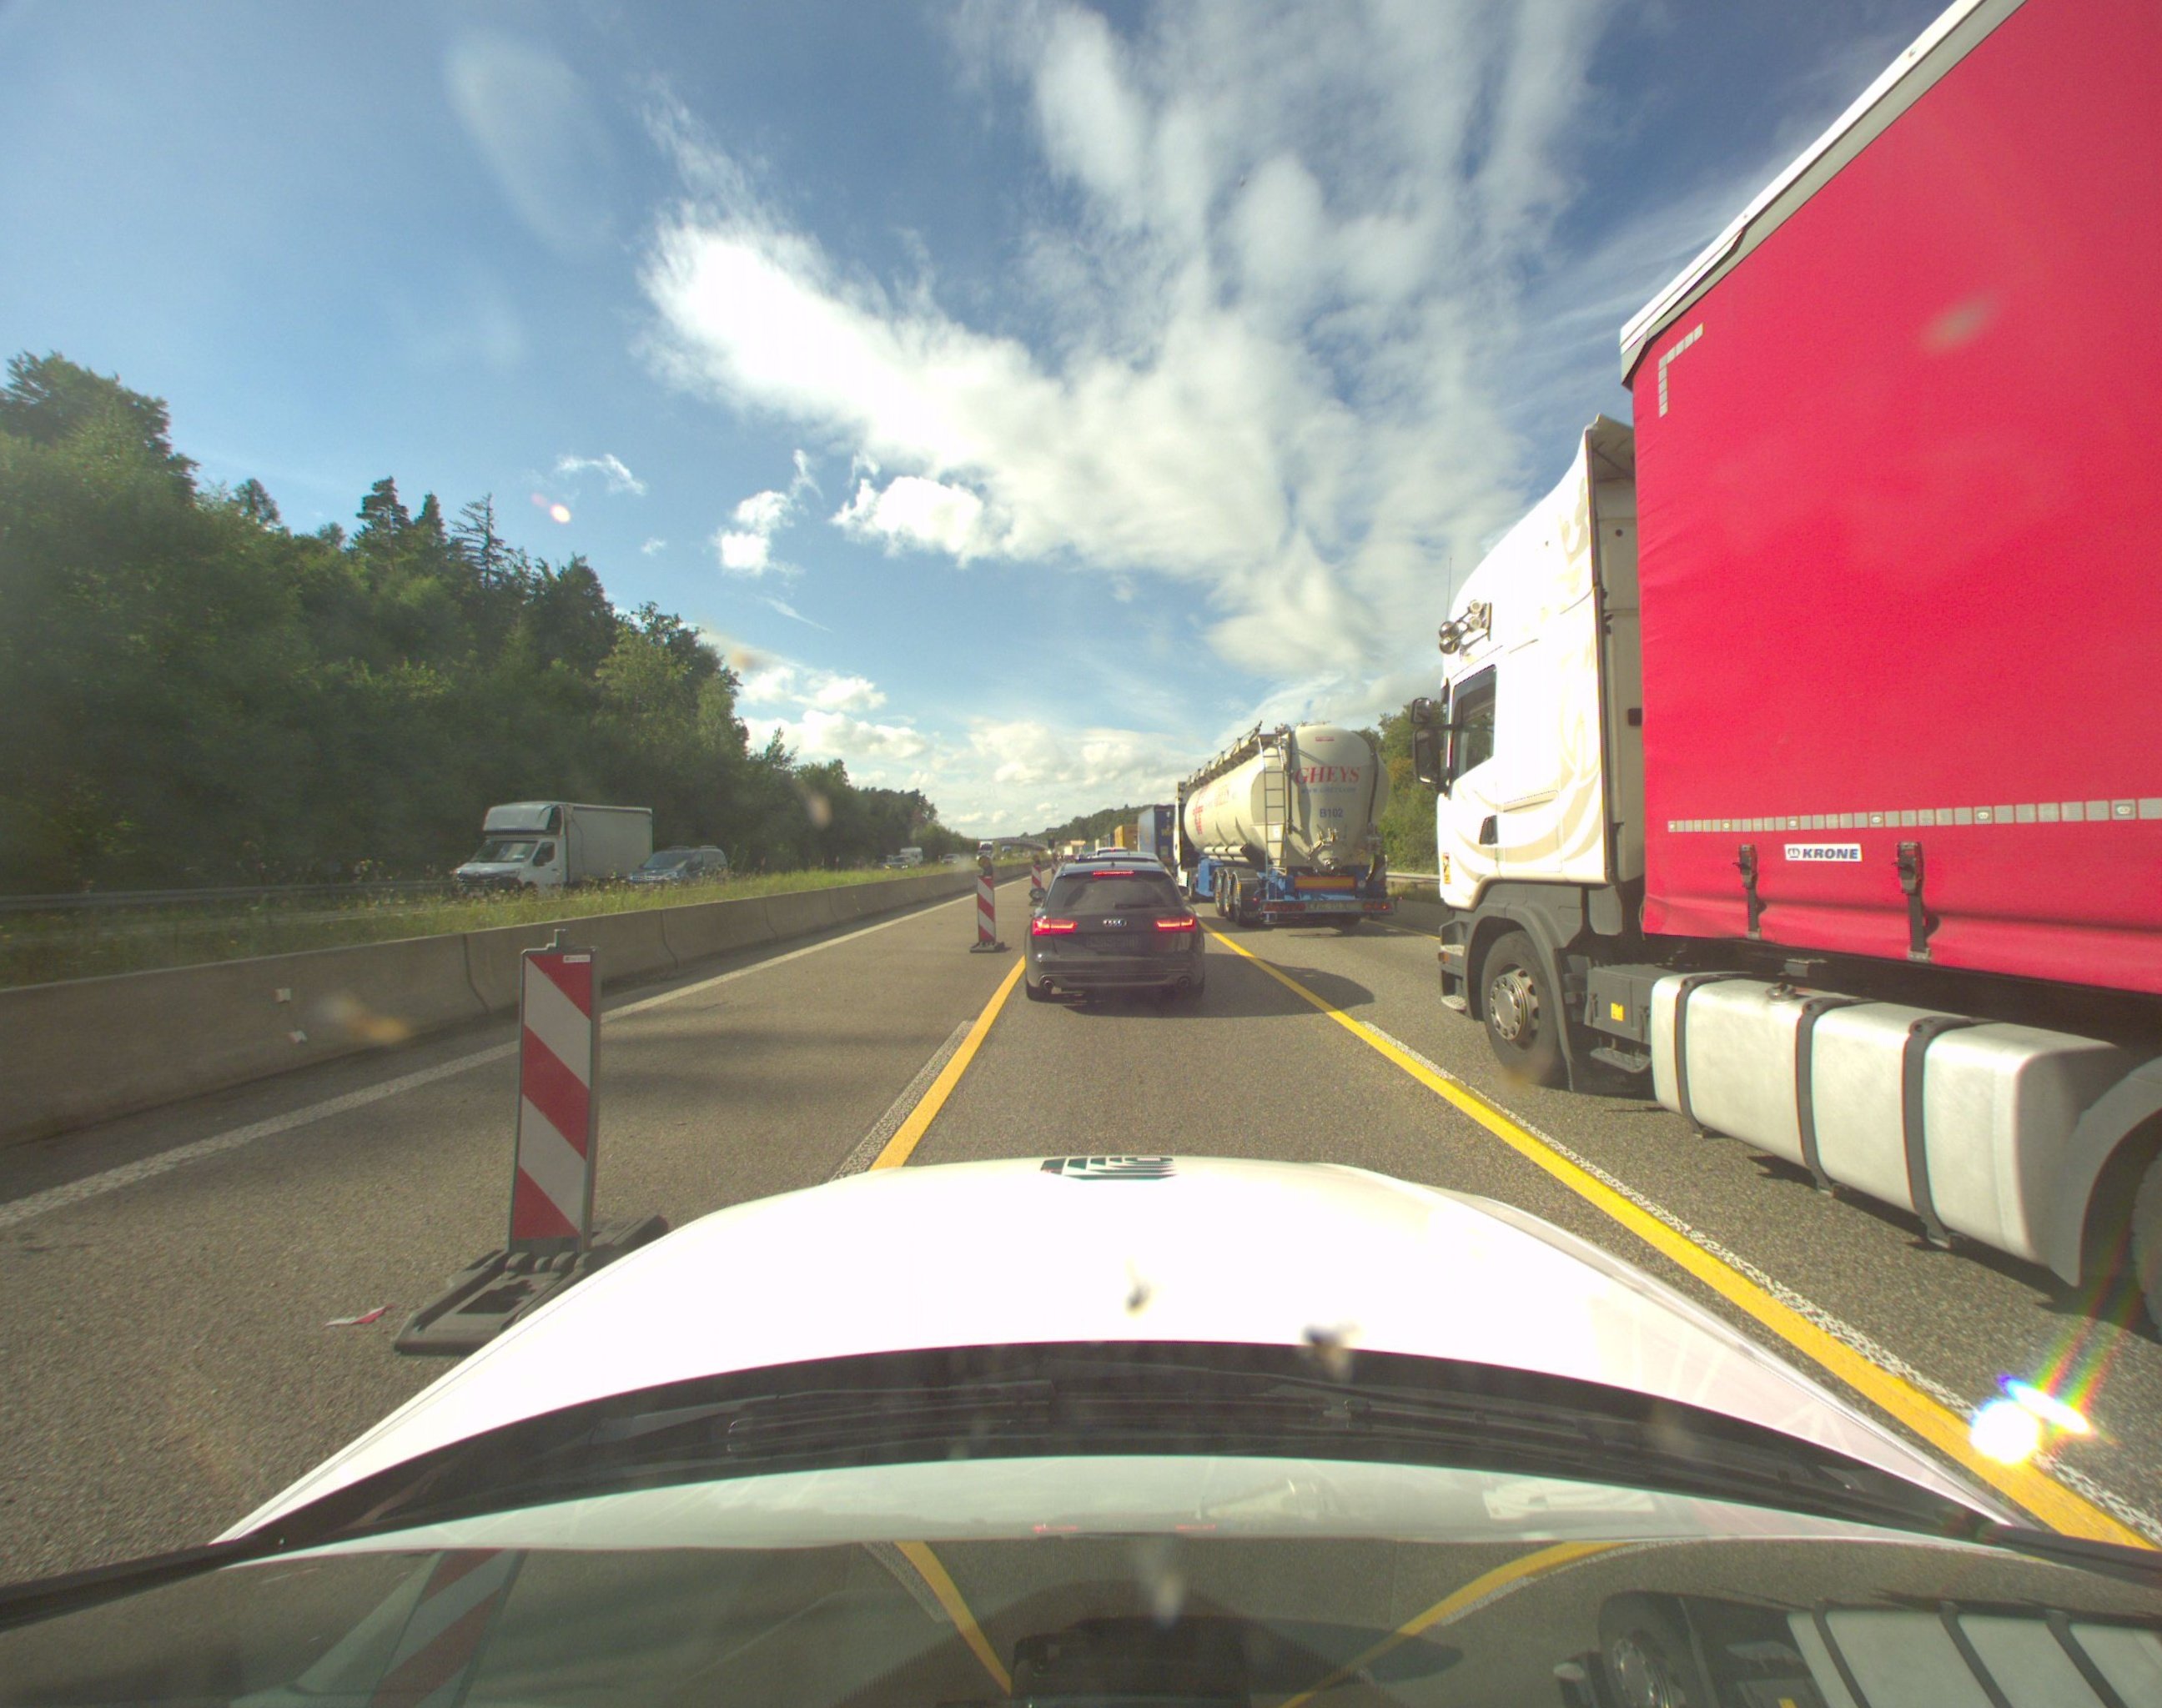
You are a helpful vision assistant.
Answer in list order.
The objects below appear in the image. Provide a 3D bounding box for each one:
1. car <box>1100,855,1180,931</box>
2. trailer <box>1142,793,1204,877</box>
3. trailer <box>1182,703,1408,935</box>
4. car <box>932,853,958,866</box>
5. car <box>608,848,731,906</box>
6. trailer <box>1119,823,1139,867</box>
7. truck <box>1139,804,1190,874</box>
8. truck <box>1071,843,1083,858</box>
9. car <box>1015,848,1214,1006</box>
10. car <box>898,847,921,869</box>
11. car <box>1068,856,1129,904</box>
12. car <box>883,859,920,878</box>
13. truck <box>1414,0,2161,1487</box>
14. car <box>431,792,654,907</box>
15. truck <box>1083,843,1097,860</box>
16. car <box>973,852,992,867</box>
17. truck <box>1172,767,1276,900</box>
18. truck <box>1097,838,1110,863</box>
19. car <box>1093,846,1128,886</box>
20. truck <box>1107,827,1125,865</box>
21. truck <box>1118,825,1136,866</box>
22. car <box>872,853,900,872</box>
[{"bbox_3d":[1.169,0.750,17.146,1.518,1.439,3.286,0,0,2],"label":"car"},{"bbox_3d":[5.306,-0.976,48.593,2.795,4.413,10.436,0,0,2],"label":"trailer"},{"bbox_3d":[4.421,-0.591,20.202,2.634,3.943,12.602,0,0,2],"label":"trailer"},{"bbox_3d":[-14.564,0.606,87.455,1.951,1.363,4.289,0,0,2],"label":"car"},{"bbox_3d":[-13.795,0.739,27.600,1.937,1.813,4.121,0,0,2],"label":"car"},{"bbox_3d":[4.427,-0.778,75.714,1.611,3.918,6.490,0,-1,1],"label":"trailer"},{"bbox_3d":[5.486,-0.904,54.602,2.796,4.369,7.794,0,0,2],"label":"truck"},{"bbox_3d":[-1.121,-0.972,236.192,3.295,4.174,9.696,-1,0,-1],"label":"truck"},{"bbox_3d":[0.375,0.679,9.584,1.842,1.463,4.002,0,0,2],"label":"car"},{"bbox_3d":[-20.905,0.507,99.320,2.247,2.643,5.009,0,0,-6],"label":"car"},{"bbox_3d":[0.555,0.766,25.328,1.745,1.397,3.609,0,0,2],"label":"car"},{"bbox_3d":[-13.760,1.101,62.669,1.772,1.387,4.312,0,0,2],"label":"car"},{"bbox_3d":[4.018,-0.428,3.796,2.658,3.959,5.711,0,0,1],"label":"truck"},{"bbox_3d":[-17.815,-0.099,27.711,2.478,3.370,7.454,0,0,1],"label":"car"},{"bbox_3d":[2.272,-0.666,204.997,3.293,4.175,9.700,-1,0,0],"label":"truck"},{"bbox_3d":[-13.821,0.735,114.298,1.986,2.014,4.833,0,0,2],"label":"car"},{"bbox_3d":[4.630,-0.601,27.423,2.649,3.972,5.780,0,-1,2],"label":"truck"},{"bbox_3d":[3.956,-0.582,142.805,2.130,4.257,7.073,0,-1,1],"label":"truck"},{"bbox_3d":[1.395,0.554,38.656,1.575,1.837,3.113,0,-1,2],"label":"car"},{"bbox_3d":[4.667,-1.072,109.394,1.987,4.914,9.562,0,0,0],"label":"truck"},{"bbox_3d":[4.504,-0.784,79.623,1.604,3.897,4.072,0,-1,1],"label":"truck"},{"bbox_3d":[-21.400,0.960,89.461,1.986,2.014,4.001,0,0,2],"label":"car"}]
